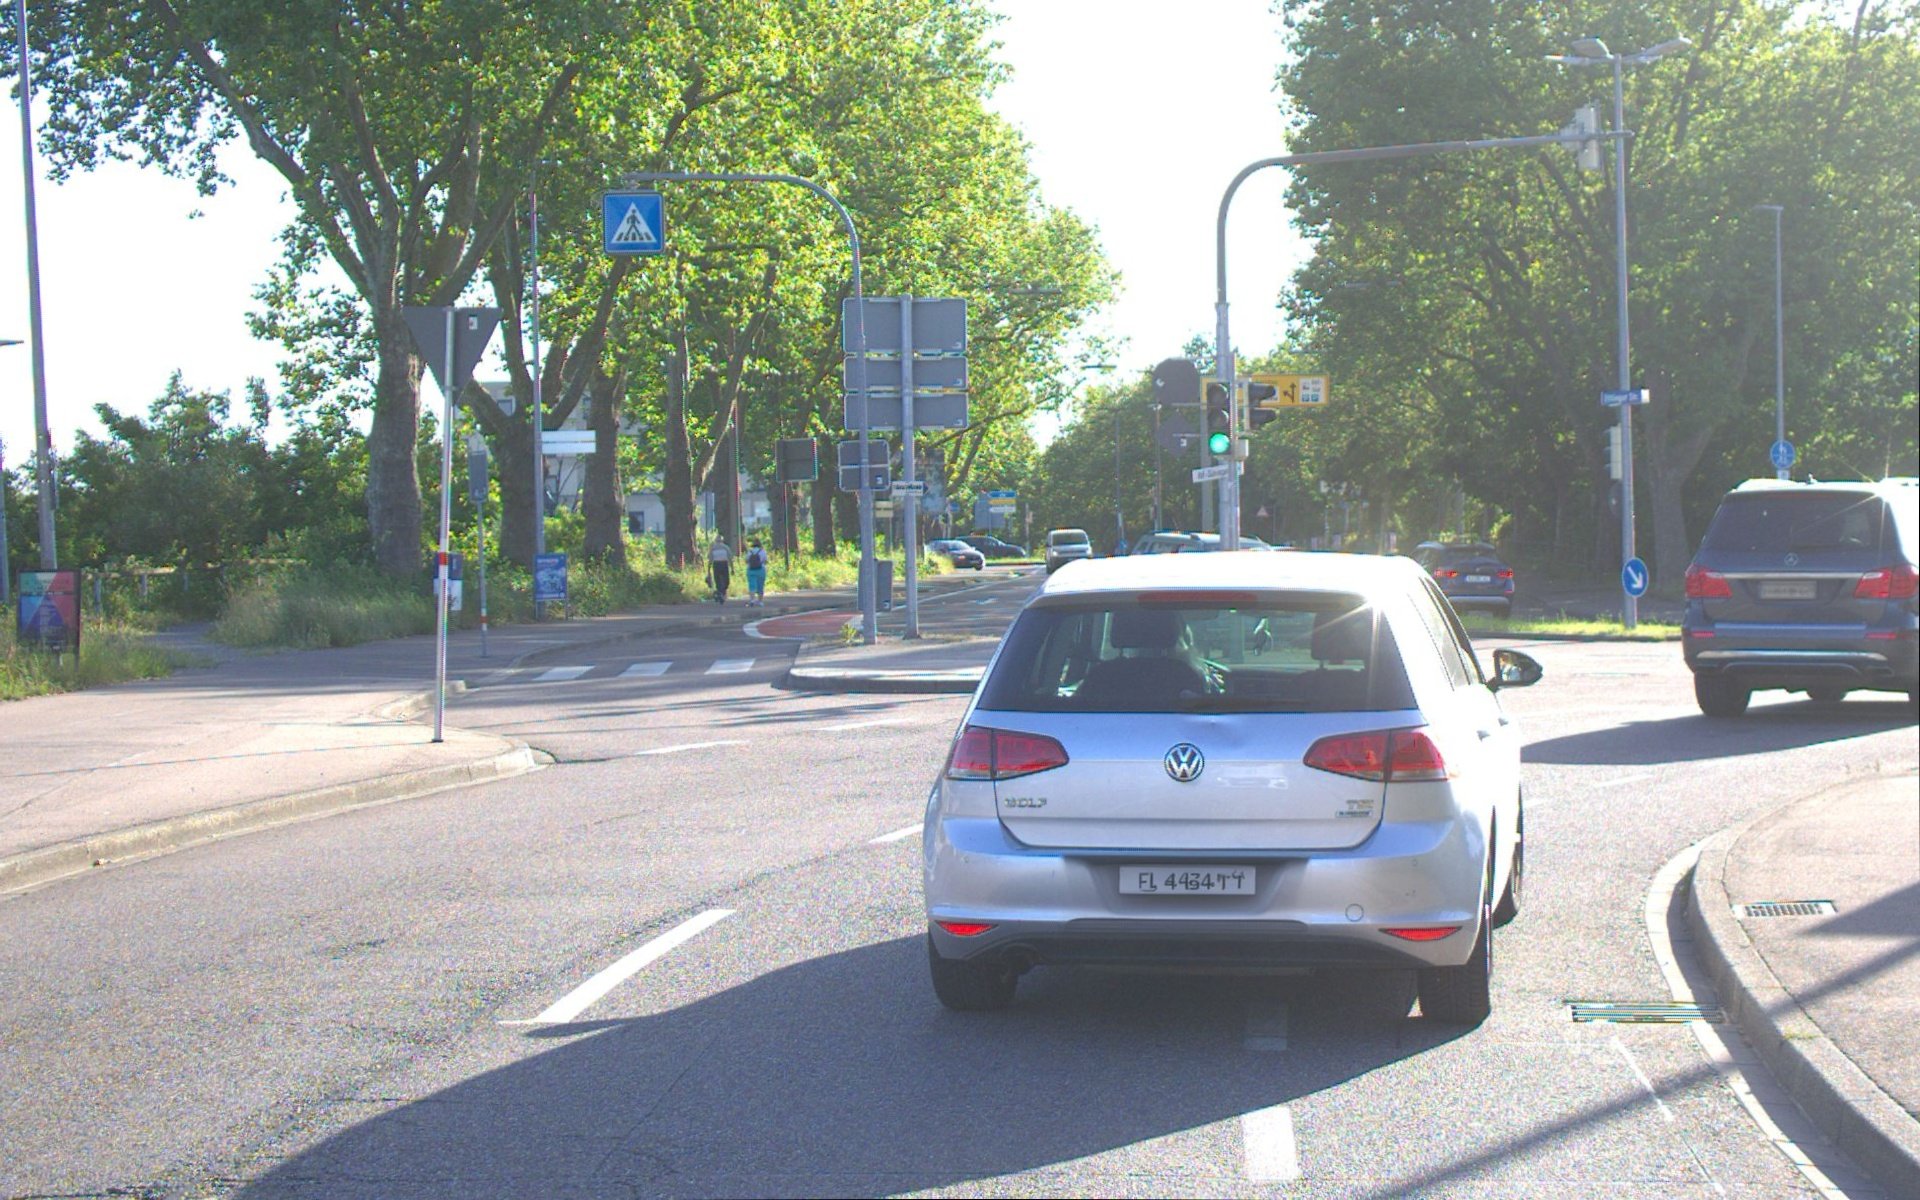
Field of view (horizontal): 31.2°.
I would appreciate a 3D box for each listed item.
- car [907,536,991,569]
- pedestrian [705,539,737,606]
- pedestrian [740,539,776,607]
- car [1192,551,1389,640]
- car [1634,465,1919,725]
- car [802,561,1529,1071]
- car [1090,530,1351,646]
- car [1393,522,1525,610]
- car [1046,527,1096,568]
[{"bbox_3d":[-0.529,-2.307,167.327,1.854,1.593,4.324,-1,1,-37],"label":"car"},{"bbox_3d":[-5.646,-0.659,81.291,0.663,1.581,0.631,0,1,5],"label":"pedestrian"},{"bbox_3d":[-4.757,-0.638,80.929,0.728,1.586,0.804,0,1,5],"label":"pedestrian"},{"bbox_3d":[5.445,-0.094,57.077,1.902,1.422,3.938,0,1,-17],"label":"car"},{"bbox_3d":[7.139,-0.058,27.503,2.116,1.881,4.805,0,1,28],"label":"car"},{"bbox_3d":[0.886,0.583,11.742,1.971,1.422,3.935,0,1,11],"label":"car"},{"bbox_3d":[3.786,-0.189,50.712,1.914,1.630,4.122,0,1,-28],"label":"car"},{"bbox_3d":[10.059,-0.693,69.534,1.853,1.737,4.267,0,1,-3],"label":"car"},{"bbox_3d":[4.744,-2.239,147.908,1.853,1.737,4.266,0,1,-2],"label":"car"}]
